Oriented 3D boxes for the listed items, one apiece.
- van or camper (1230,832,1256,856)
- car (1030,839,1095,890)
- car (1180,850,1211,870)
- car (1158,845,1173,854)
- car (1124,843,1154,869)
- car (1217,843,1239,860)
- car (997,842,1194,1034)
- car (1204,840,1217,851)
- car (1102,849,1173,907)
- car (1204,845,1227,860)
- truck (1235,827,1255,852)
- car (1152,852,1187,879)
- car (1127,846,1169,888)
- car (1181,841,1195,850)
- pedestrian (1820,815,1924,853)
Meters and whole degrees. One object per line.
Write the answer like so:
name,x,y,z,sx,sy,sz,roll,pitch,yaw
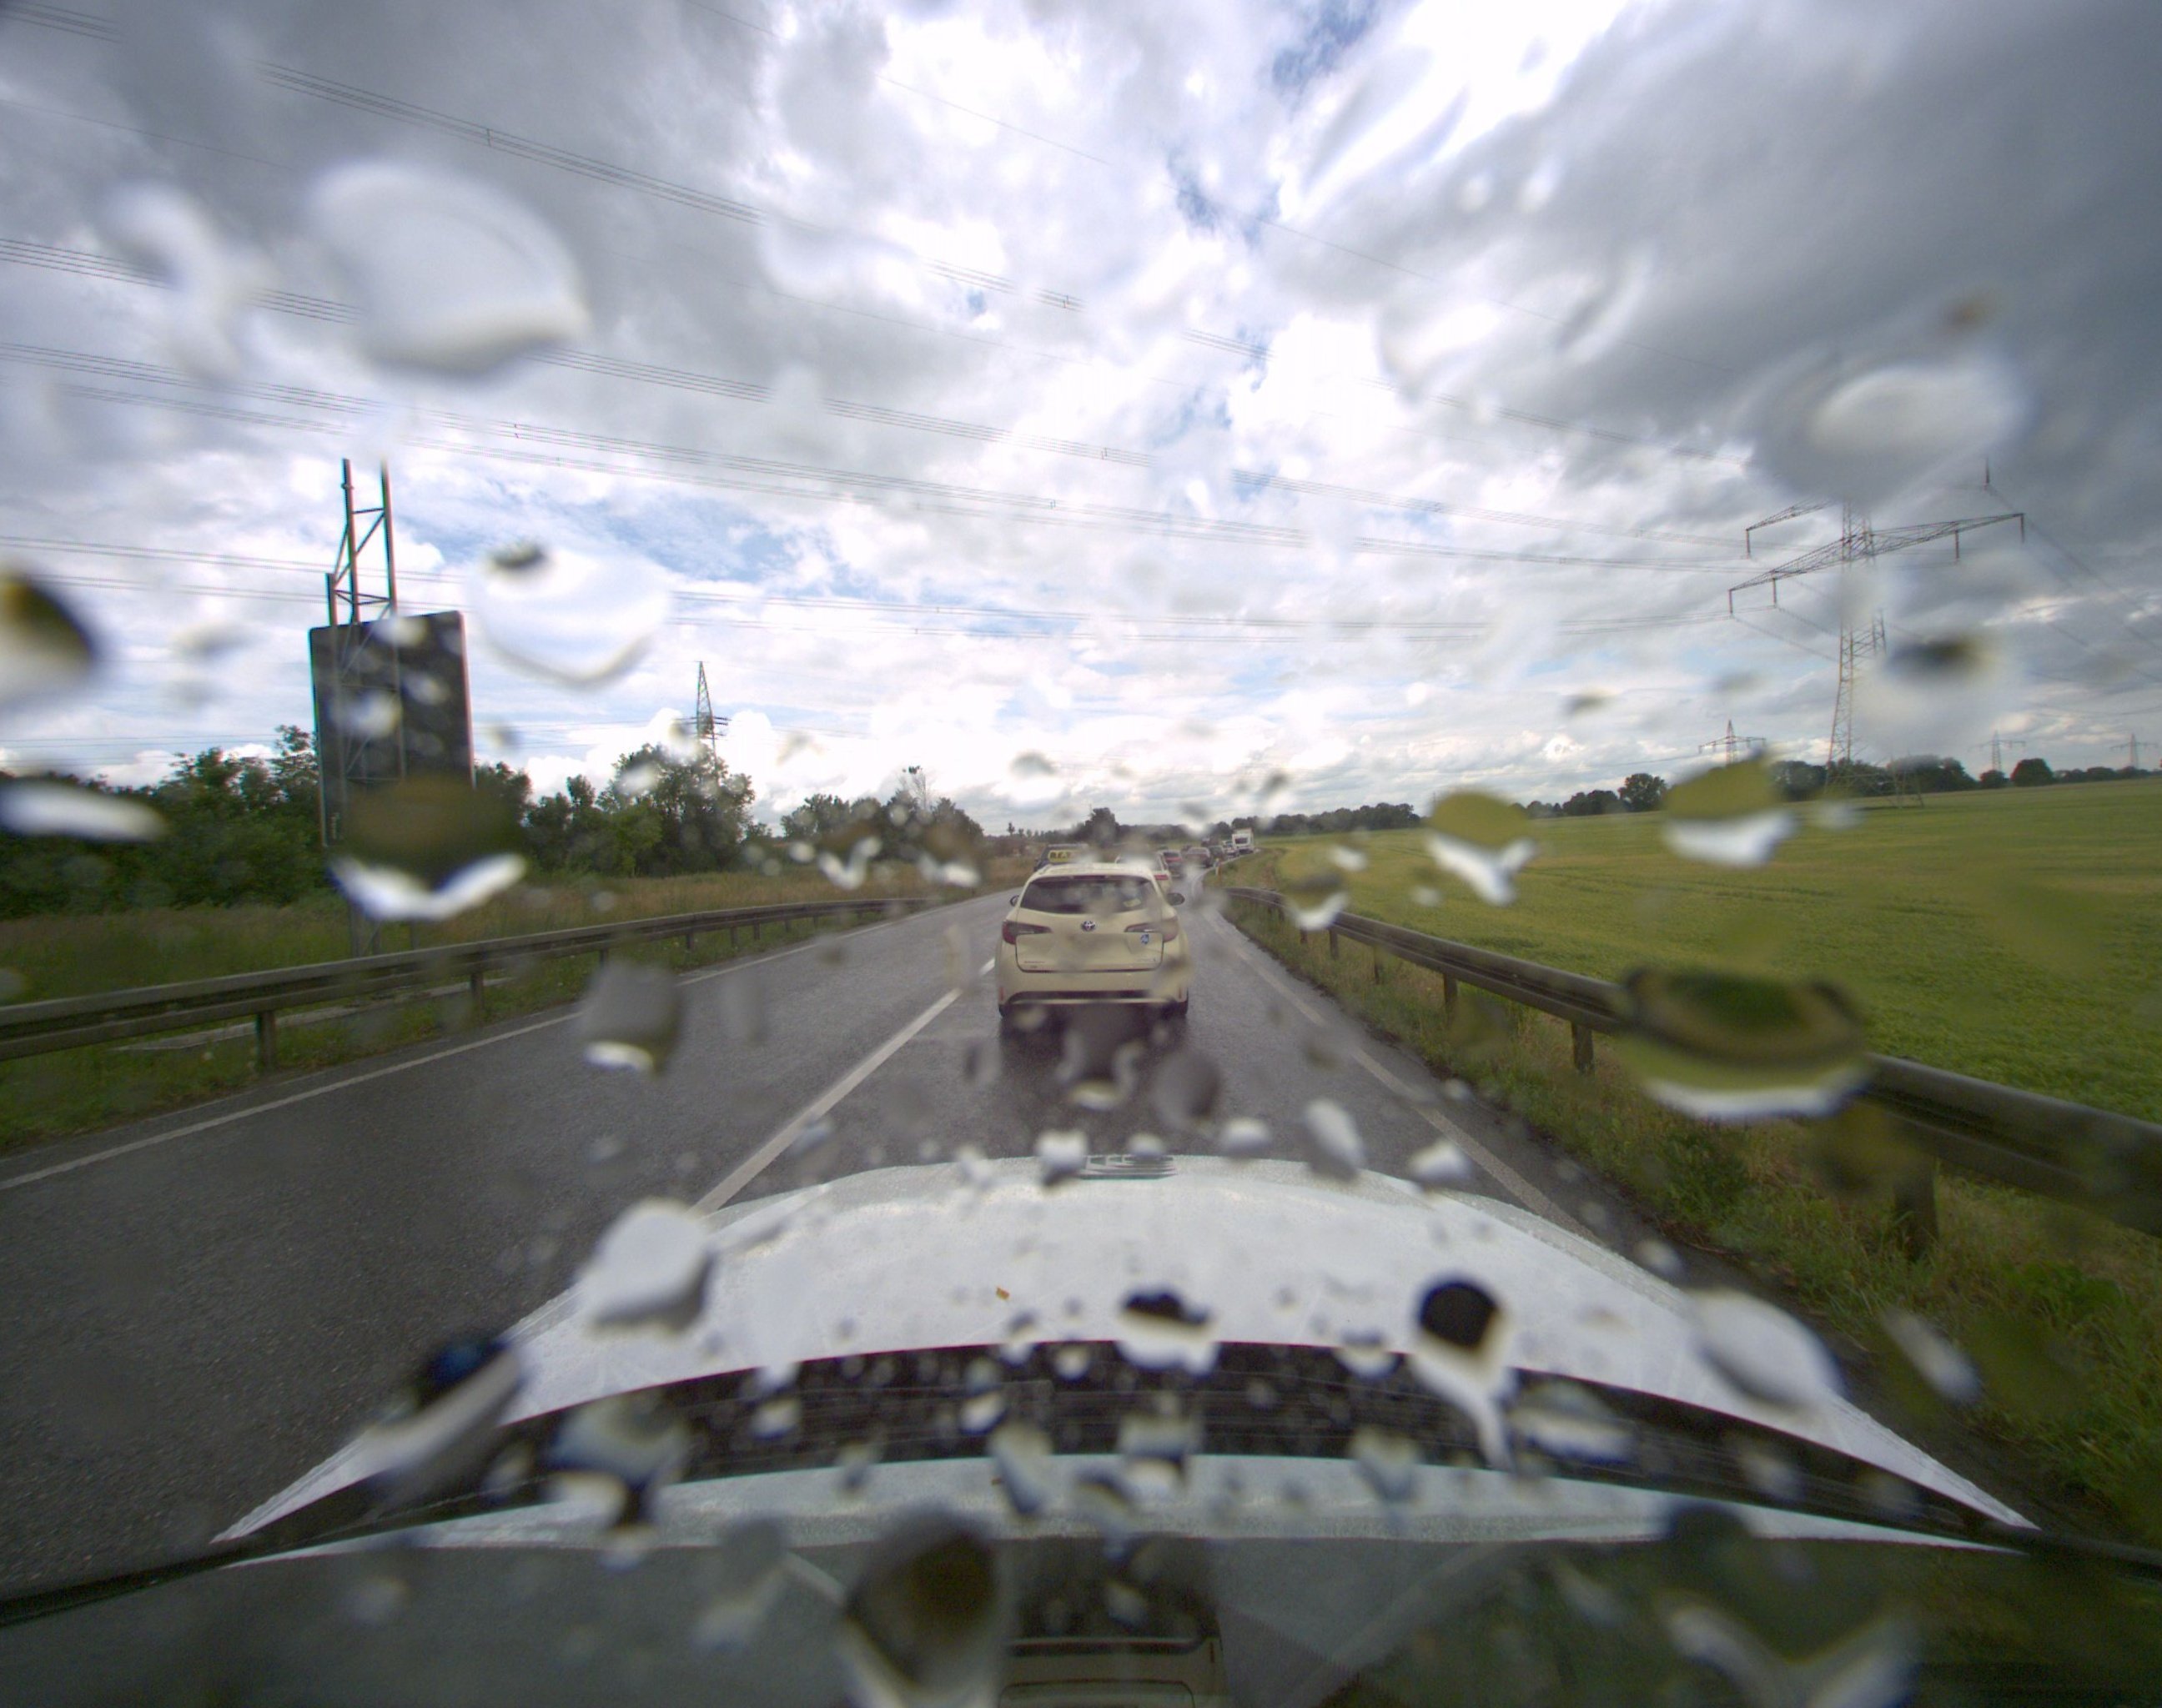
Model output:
van or camper,20.617,-1.268,103.263,2.517,2.896,6.773,-1,1,17
car,-0.699,0.443,35.373,1.951,2.014,4.873,-1,-1,9
car,8.706,0.473,61.672,1.947,1.413,4.407,-1,-1,12
car,20.136,-1.094,194.066,1.919,2.014,4.100,0,-1,-22
car,4.468,0.180,62.120,1.790,1.850,4.533,-2,-1,10
car,16.015,-0.247,88.403,1.945,1.729,3.754,-1,-1,17
car,0.199,0.705,8.547,1.606,1.562,3.740,0,-1,2
car,26.119,-1.669,164.312,1.737,2.014,4.138,0,-1,-6
car,1.740,0.622,23.620,1.832,1.492,4.616,-1,1,6
car,12.903,-0.103,78.230,1.812,1.413,3.753,-1,-1,15
truck,26.442,-2.306,131.649,3.106,3.852,7.408,-1,-1,11
car,4.841,0.628,44.154,1.603,1.413,3.748,0,-1,10
car,2.867,0.518,34.244,1.604,1.659,3.746,0,-1,7
car,23.865,-1.883,181.833,1.994,1.767,4.091,0,-1,-11
pedestrian,44.258,-1.079,45.711,1.986,2.014,4.001,0,-1,1
